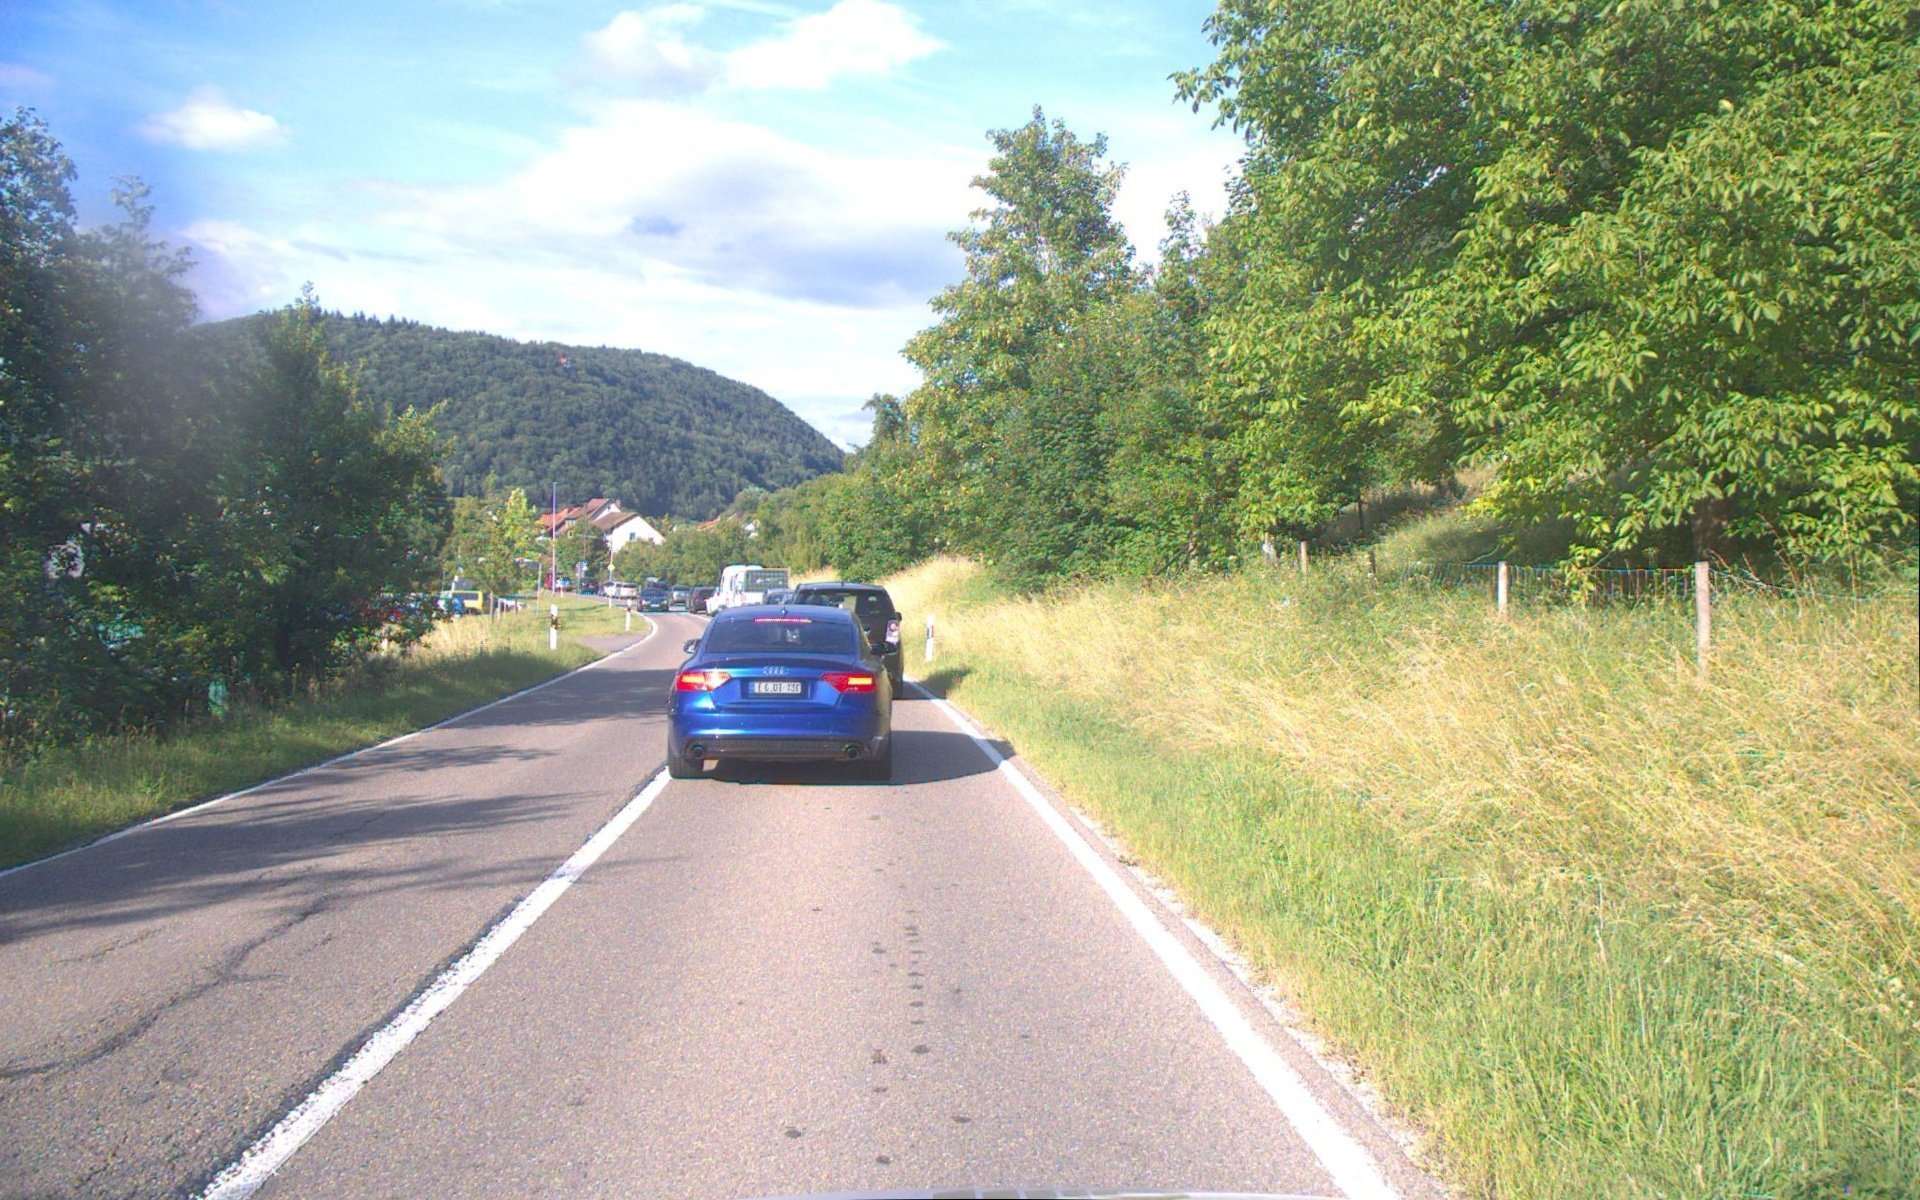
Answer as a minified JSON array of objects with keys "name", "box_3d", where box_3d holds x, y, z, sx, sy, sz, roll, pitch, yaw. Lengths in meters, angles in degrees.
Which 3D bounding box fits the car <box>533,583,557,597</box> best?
[{"name":"car","box_3d":[-47.373,-1.153,188.725,1.967,1.508,3.971,1,0,-24]}]

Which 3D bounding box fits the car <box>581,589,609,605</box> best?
[{"name":"car","box_3d":[-34.900,-0.269,158.111,1.967,1.508,3.971,1,0,-24]}]

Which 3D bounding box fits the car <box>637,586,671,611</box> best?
[{"name":"car","box_3d":[-18.213,-0.078,98.472,1.958,1.400,3.990,1,0,-11]}]

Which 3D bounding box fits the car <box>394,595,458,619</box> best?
[{"name":"car","box_3d":[-37.179,0.493,115.165,3.907,1.580,1.781,1,0,-3]}]

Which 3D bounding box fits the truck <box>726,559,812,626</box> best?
[{"name":"truck","box_3d":[-8.601,-0.337,73.283,2.814,2.712,10.361,1,0,-12]}]

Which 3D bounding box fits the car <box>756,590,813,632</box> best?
[{"name":"car","box_3d":[-6.624,0.409,62.125,1.956,1.508,3.992,1,0,-9]}]

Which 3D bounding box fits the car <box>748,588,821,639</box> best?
[{"name":"car","box_3d":[-5.442,0.406,50.897,1.957,1.508,3.990,1,0,-10]}]

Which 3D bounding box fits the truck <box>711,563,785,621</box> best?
[{"name":"truck","box_3d":[-10.831,-0.382,83.660,2.814,2.712,10.612,1,0,-12]}]

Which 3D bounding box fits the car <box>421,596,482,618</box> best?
[{"name":"car","box_3d":[-37.294,0.518,121.275,3.907,1.580,1.781,1,0,-3]}]

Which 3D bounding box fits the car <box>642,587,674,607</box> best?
[{"name":"car","box_3d":[-23.895,-0.249,130.872,1.962,1.508,3.980,1,0,-18]}]

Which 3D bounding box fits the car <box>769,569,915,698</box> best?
[{"name":"car","box_3d":[-1.720,0.465,24.479,1.954,1.732,3.997,1,0,-3]}]

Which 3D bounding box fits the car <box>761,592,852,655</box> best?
[{"name":"car","box_3d":[-3.727,0.539,39.609,1.956,1.411,3.992,1,0,-8]}]

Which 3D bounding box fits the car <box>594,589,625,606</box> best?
[{"name":"car","box_3d":[-31.832,-0.256,150.078,1.967,1.508,3.971,1,0,-24]}]

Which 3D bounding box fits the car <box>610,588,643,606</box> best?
[{"name":"car","box_3d":[-29.021,-0.229,143.790,1.967,1.508,3.971,1,0,-24]}]

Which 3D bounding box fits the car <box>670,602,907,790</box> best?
[{"name":"car","box_3d":[-1.401,0.711,14.331,1.758,1.383,3.997,0,0,-4]}]

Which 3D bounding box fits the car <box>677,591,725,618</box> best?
[{"name":"car","box_3d":[-15.100,0.264,96.255,1.965,1.508,3.974,1,0,-22]}]

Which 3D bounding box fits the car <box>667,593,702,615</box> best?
[{"name":"car","box_3d":[-19.878,0.276,119.402,1.962,1.508,3.980,1,0,-18]}]

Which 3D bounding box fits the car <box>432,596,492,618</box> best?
[{"name":"car","box_3d":[-37.263,0.529,123.809,3.907,1.580,1.781,1,0,-3]}]

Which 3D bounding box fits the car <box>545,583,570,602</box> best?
[{"name":"car","box_3d":[-43.847,-0.812,180.126,1.966,2.049,3.972,1,0,-22]}]

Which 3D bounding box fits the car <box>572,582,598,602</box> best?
[{"name":"car","box_3d":[-38.509,-0.825,169.737,1.966,2.049,3.972,1,0,-22]}]
